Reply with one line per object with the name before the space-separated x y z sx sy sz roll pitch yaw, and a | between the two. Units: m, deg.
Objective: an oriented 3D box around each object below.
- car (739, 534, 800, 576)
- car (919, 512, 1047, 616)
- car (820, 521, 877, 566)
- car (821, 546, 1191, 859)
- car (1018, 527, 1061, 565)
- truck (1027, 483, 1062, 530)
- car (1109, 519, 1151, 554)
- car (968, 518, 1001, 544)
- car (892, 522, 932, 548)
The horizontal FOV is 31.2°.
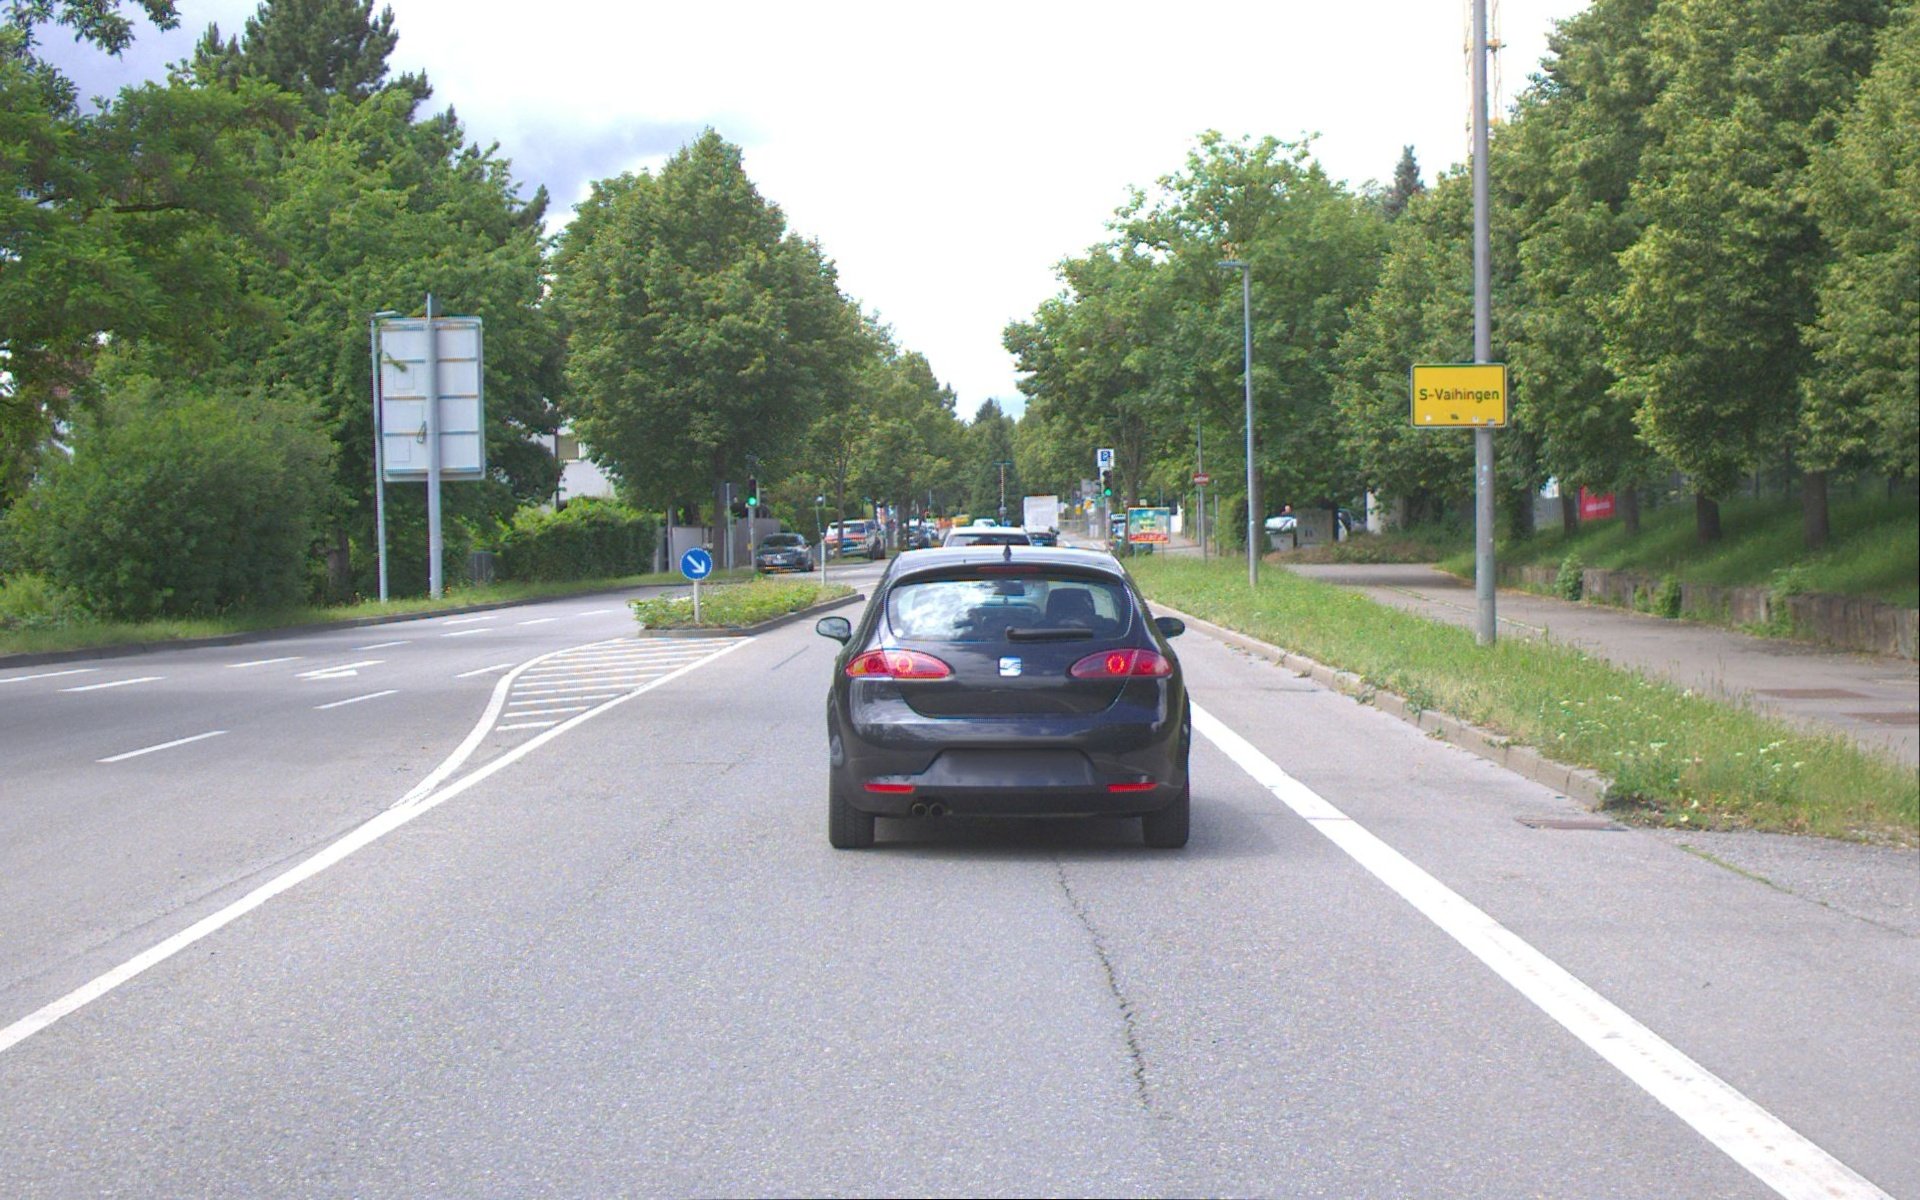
car | -6.863 -1.627 124.448 1.718 1.390 4.801 -3 1 2
car | 0.357 -0.557 51.857 1.846 1.504 3.812 1 1 1
car | -4.951 -2.550 153.629 2.100 1.890 5.784 -3 1 2
car | 0.231 0.435 17.496 1.663 1.396 3.812 1 1 1
car | 3.663 -2.498 157.411 1.881 1.683 4.214 -1 1 2
truck | 5.721 -6.324 233.313 2.279 3.093 8.511 1 1 1
car | 7.288 -2.728 147.559 1.688 1.485 3.355 -1 1 2
car | 1.691 -4.664 232.551 1.875 1.629 4.340 -3 1 4
car | -2.916 -3.994 210.743 2.100 1.501 5.784 -3 1 2
